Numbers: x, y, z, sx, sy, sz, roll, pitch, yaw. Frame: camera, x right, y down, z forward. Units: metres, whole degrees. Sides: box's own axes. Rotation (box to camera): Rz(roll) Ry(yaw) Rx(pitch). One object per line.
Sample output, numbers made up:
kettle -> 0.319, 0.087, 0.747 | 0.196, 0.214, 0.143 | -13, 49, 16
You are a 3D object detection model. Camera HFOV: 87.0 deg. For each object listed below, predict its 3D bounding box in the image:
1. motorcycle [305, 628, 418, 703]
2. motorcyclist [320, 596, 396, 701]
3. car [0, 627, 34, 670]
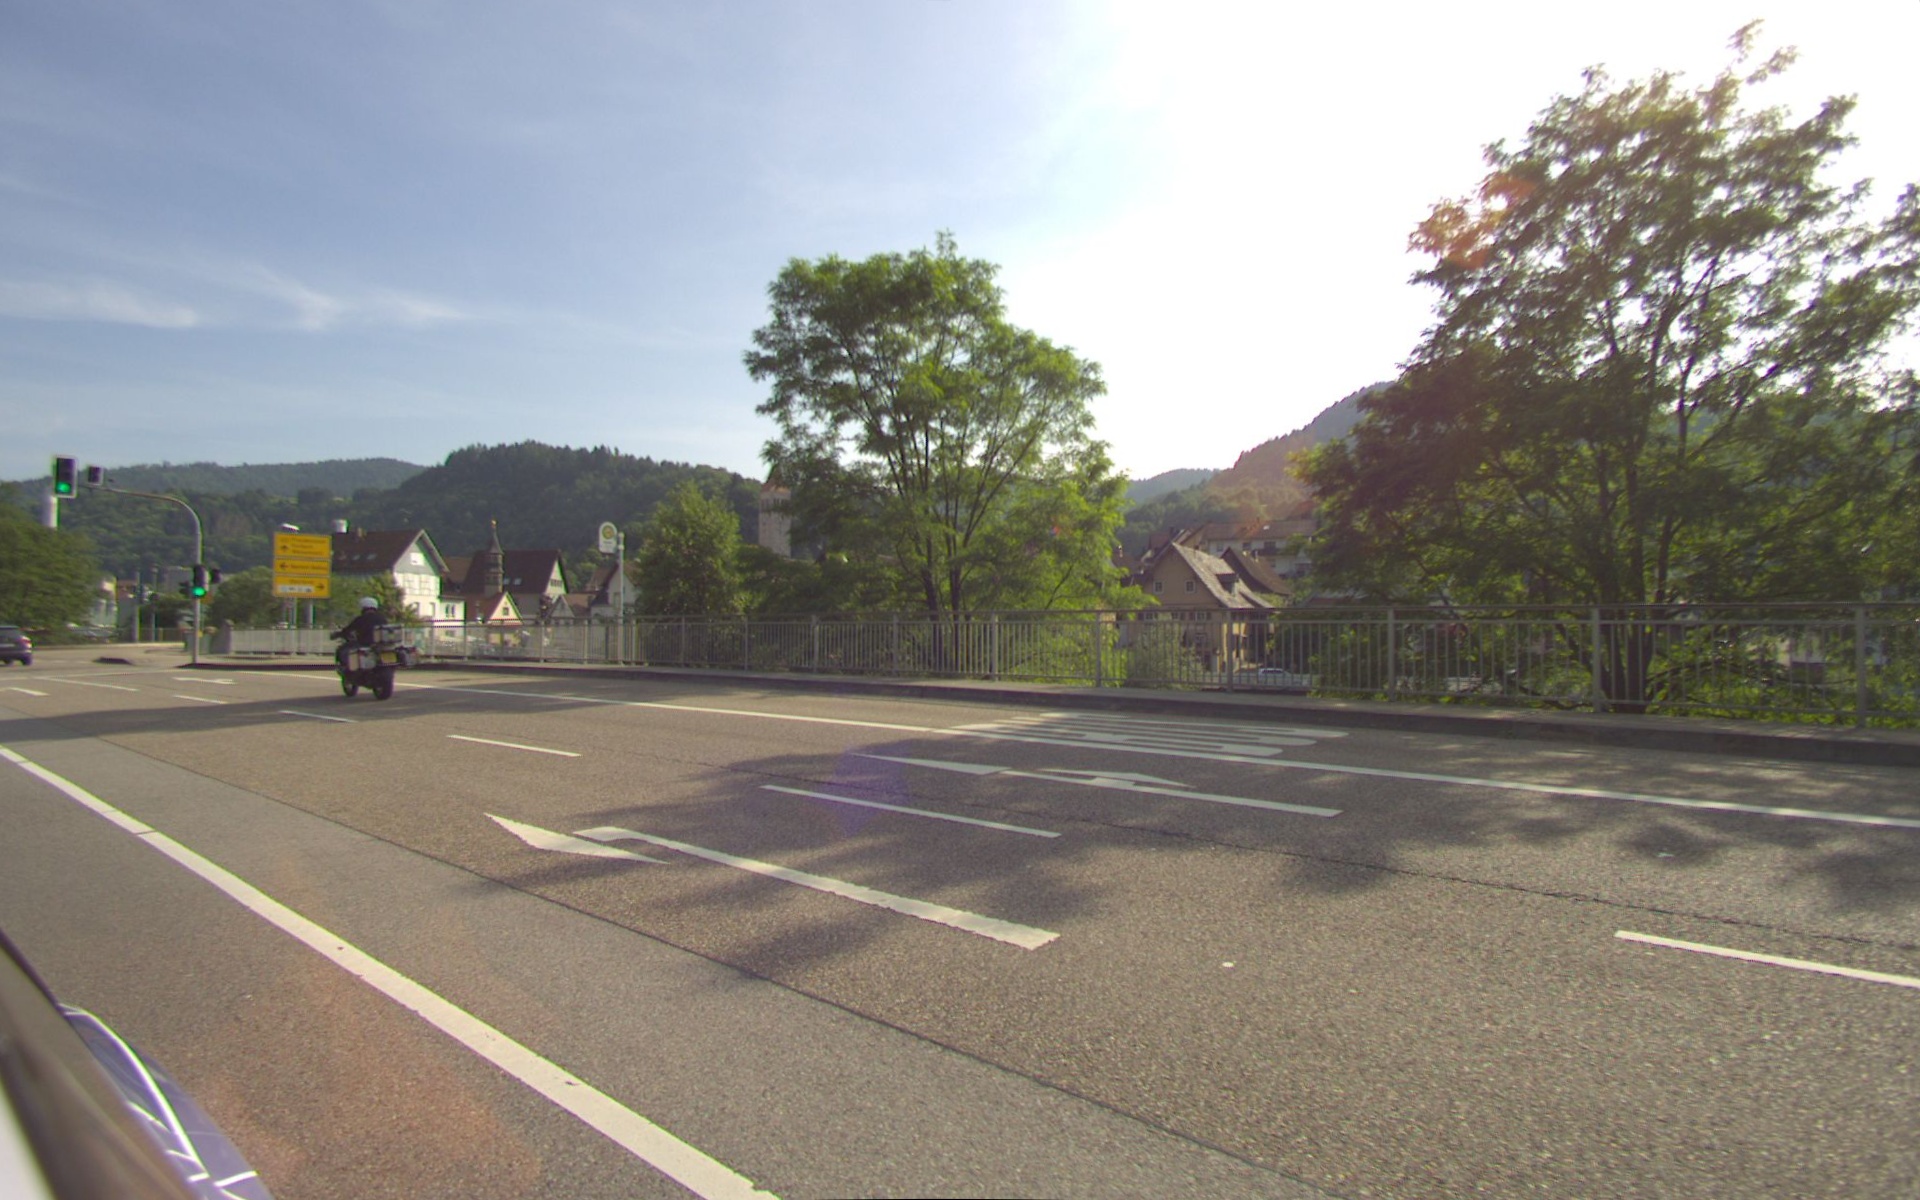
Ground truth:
motorcycle -> -10.724, 1.133, 18.085 | 2.570, 1.230, 0.962 | -2, -1, 41
motorcyclist -> -10.797, 0.846, 18.147 | 1.171, 1.798, 0.836 | -2, -1, 41
car -> -35.440, 1.749, 36.836 | 4.747, 1.490, 1.768 | -1, -1, 38
